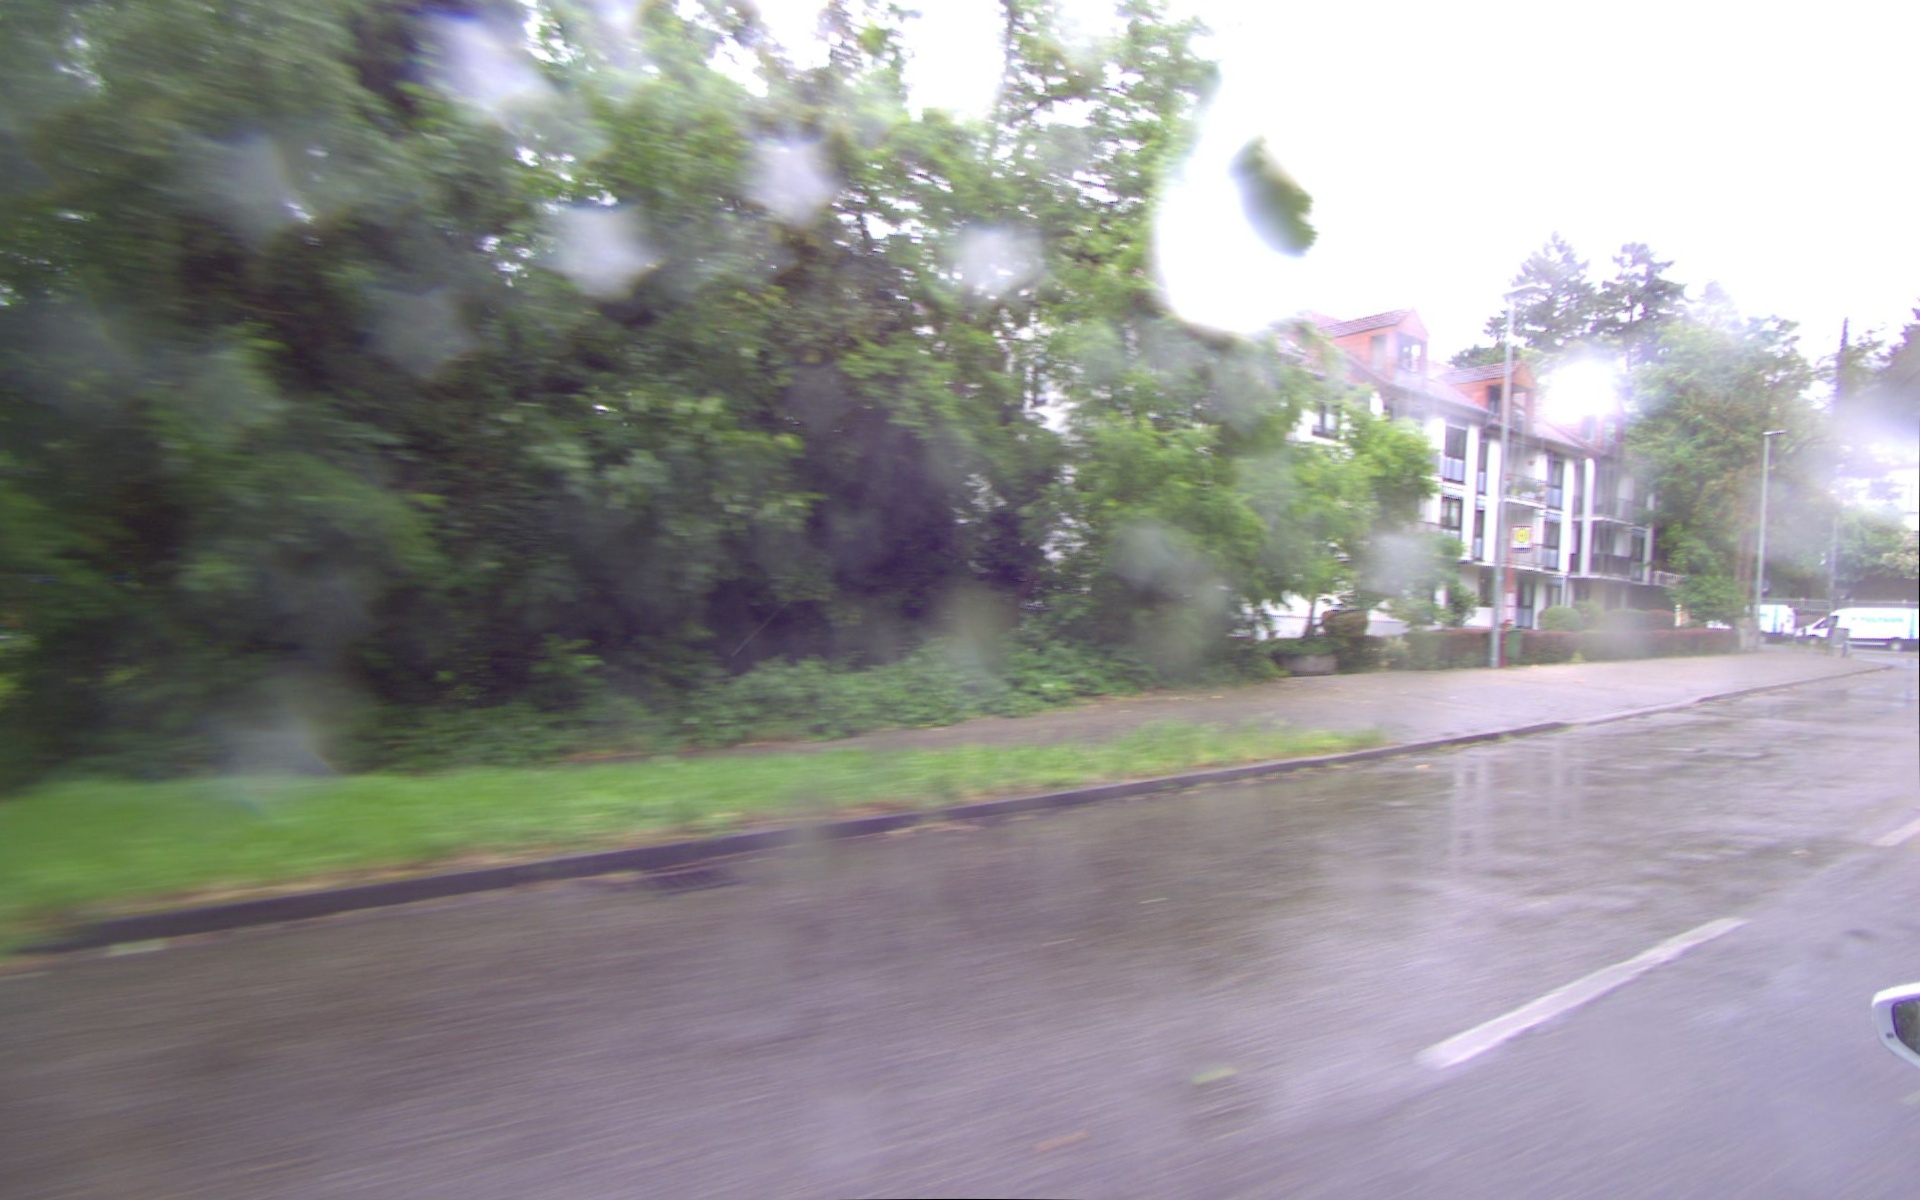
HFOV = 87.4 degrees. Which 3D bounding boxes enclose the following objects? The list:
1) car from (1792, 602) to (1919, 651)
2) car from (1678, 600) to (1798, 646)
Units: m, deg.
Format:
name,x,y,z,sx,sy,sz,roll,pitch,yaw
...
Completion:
name,x,y,z,sx,sy,sz,roll,pitch,yaw
car,52.519,1.524,58.600,2.292,2.527,5.625,3,1,-34
car,49.255,1.418,63.719,2.292,2.527,5.528,3,1,-34
